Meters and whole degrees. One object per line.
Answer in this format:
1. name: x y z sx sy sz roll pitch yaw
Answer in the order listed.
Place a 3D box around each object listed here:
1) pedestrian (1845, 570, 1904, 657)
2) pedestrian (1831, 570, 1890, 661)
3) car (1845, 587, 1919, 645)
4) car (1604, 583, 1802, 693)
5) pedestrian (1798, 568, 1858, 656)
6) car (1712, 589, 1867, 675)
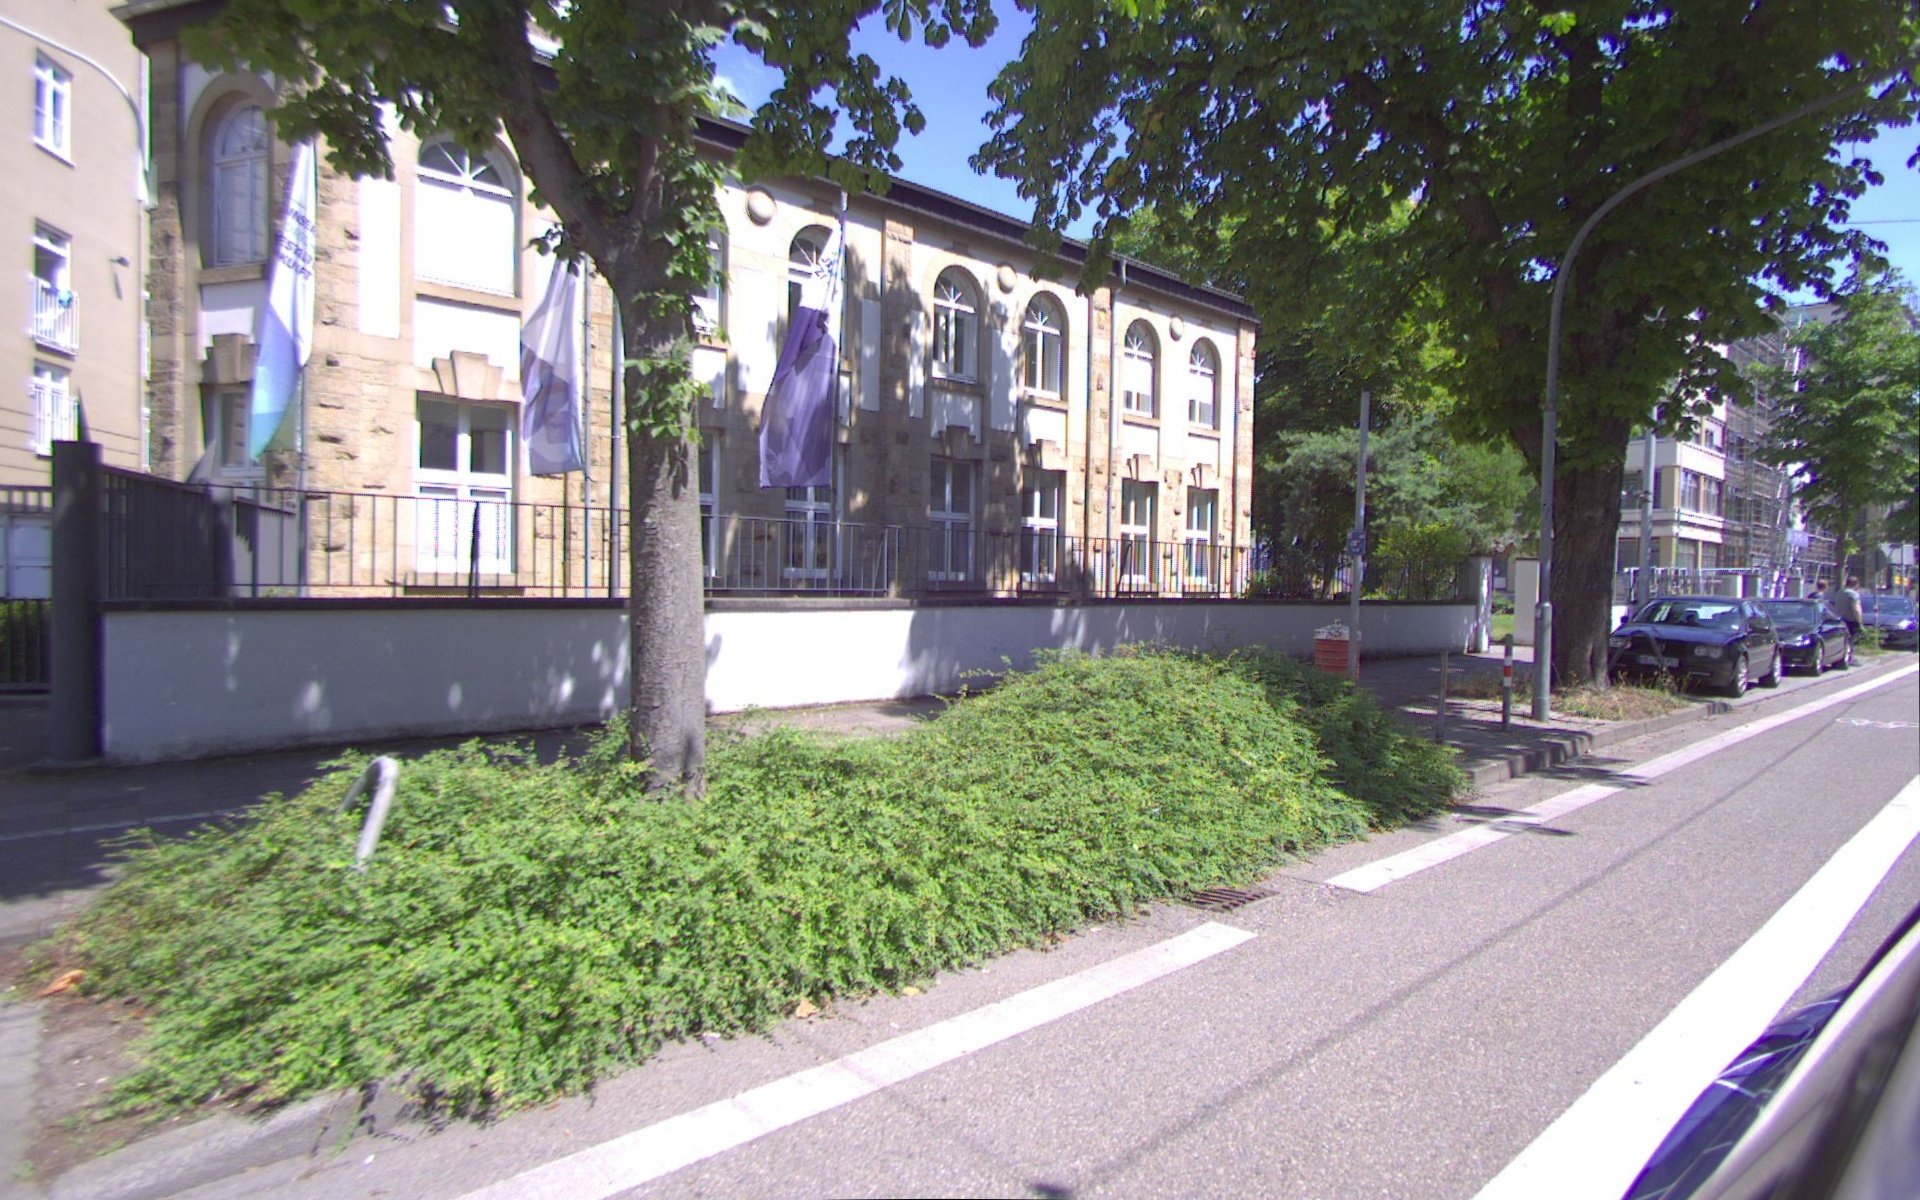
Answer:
1. pedestrian: 20.014 0.277 22.161 0.732 1.873 0.641 1 1 24
2. pedestrian: 18.906 0.317 21.254 0.724 1.873 0.648 0 1 -23
3. car: 25.750 0.401 27.769 3.930 1.420 1.625 0 4 -41
4. car: 11.629 0.507 15.758 3.756 1.420 1.626 0 4 -41
5. pedestrian: 18.929 0.248 22.076 0.724 1.873 0.648 1 1 -14
6. car: 16.175 0.540 19.678 3.930 1.420 1.625 0 4 -41
